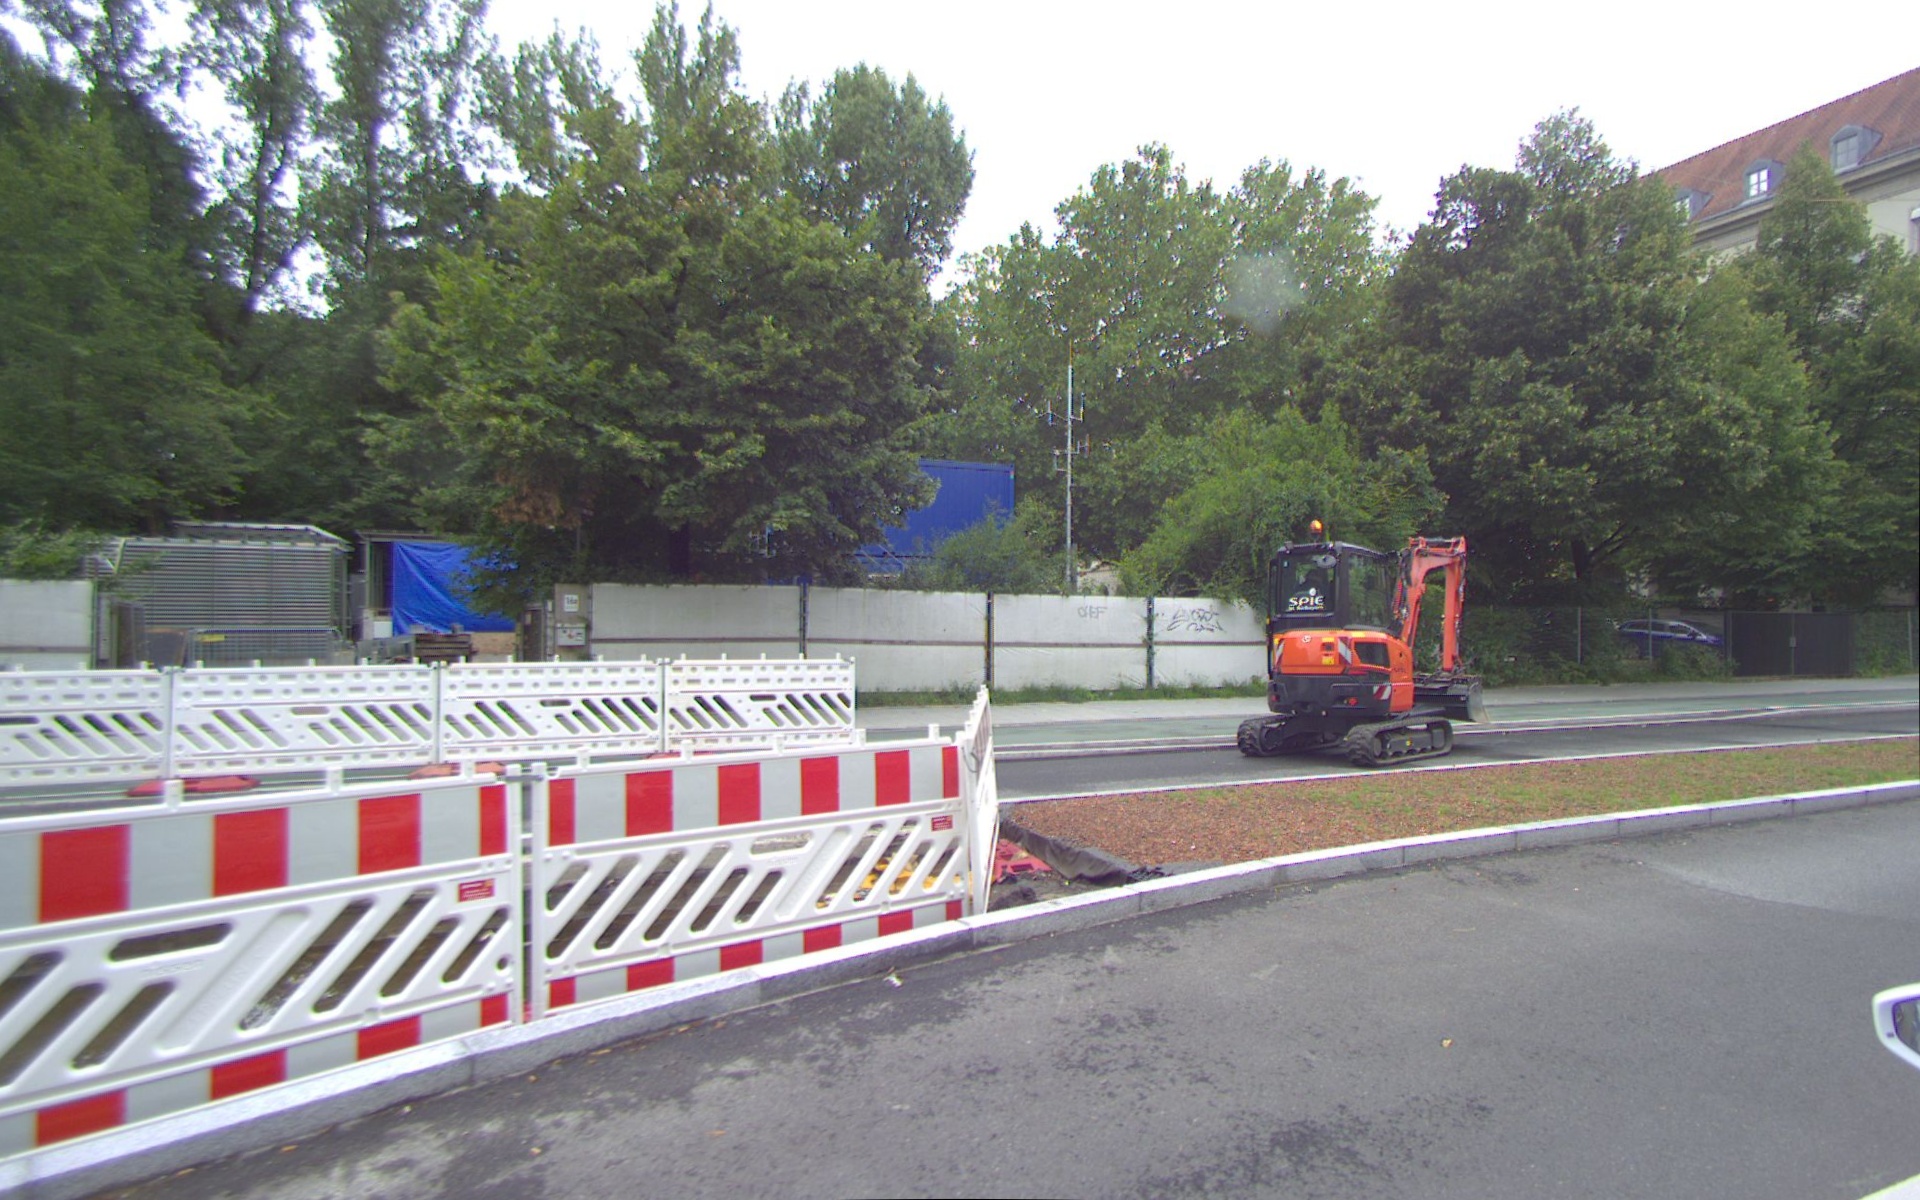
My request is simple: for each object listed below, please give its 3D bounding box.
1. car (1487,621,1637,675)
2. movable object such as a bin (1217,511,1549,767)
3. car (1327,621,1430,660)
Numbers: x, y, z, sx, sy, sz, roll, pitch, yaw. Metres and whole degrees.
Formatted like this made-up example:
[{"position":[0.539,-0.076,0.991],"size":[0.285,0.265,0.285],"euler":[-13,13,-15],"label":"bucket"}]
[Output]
[{"position":[19.687,1.517,33.021],"size":[1.811,1.566,3.916],"euler":[0,0,-25],"label":"car"},{"position":[5.495,0.466,12.779],"size":[4.626,2.676,1.978],"euler":[1,-2,-39],"label":"movable object such as a bin"},{"position":[18.098,1.707,43.429],"size":[4.121,1.566,1.824],"euler":[0,0,-25],"label":"car"}]
